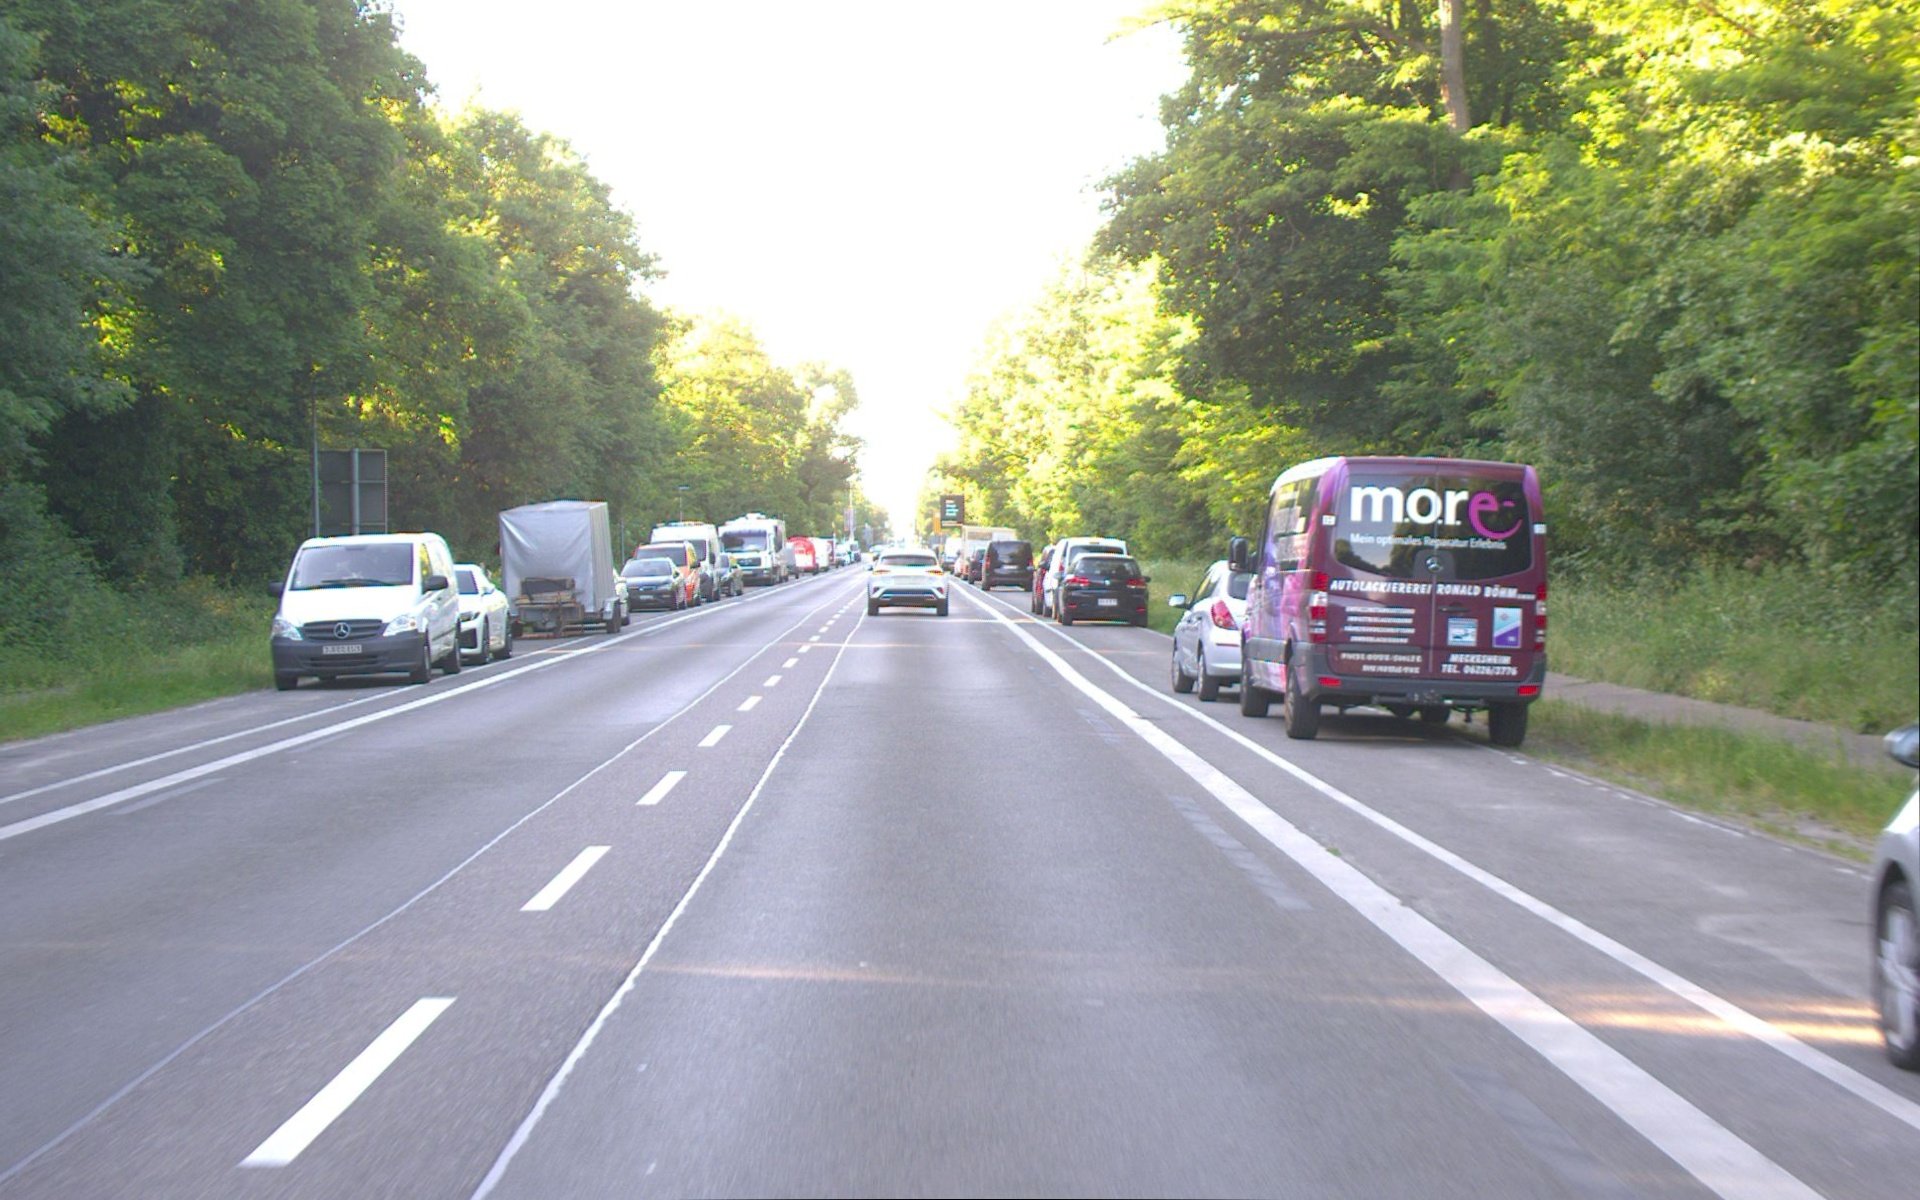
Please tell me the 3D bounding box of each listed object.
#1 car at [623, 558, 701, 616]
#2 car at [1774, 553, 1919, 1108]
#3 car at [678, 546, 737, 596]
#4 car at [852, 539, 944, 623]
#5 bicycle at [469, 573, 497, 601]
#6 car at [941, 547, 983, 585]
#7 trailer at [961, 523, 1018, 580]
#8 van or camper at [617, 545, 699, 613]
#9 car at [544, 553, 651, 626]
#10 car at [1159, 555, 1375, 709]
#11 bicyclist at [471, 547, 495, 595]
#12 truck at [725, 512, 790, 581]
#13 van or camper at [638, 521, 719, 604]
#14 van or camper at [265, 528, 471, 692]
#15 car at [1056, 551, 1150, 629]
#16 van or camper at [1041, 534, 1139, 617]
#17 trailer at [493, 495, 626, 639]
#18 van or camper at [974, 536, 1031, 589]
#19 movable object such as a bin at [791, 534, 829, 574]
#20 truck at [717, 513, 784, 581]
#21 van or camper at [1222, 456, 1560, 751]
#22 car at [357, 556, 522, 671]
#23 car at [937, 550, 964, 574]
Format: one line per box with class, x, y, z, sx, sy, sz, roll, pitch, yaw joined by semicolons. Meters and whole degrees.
car;-8.062;-0.371;93.292;1.731;1.473;4.324;-2;1;0
car;3.555;0.680;9.305;1.712;1.540;4.022;2;1;0
car;-9.034;-1.047;123.057;1.781;1.678;4.378;-2;1;0
car;-1.394;-0.455;78.248;2.028;1.834;4.029;0;1;0
bicycle;-12.287;-0.333;88.552;0.522;0.710;1.487;0;1;-1
car;0.064;-1.522;153.154;1.841;1.656;4.000;0;1;0
trailer;1.482;-2.466;175.252;2.757;2.860;6.589;0;1;-1
van or camper;-8.749;-0.633;99.954;1.923;1.860;4.863;-2;1;0
car;-7.718;-0.241;73.553;1.797;1.448;4.625;-2;1;-1
car;3.262;0.304;37.176;1.747;1.510;4.001;2;1;-3
bicyclist;-12.286;-0.758;88.573;0.487;1.231;0.974;0;1;-1
truck;-10.013;-2.648;171.120;2.707;3.336;10.924;0;1;-1
van or camper;-9.070;-1.231;111.222;2.121;2.563;6.542;-1;1;0
van or camper;-7.437;0.083;43.606;1.835;1.905;4.856;-2;1;-1
car;2.900;-0.226;70.429;1.690;1.519;4.150;1;1;-1
van or camper;2.878;-0.563;76.929;1.951;1.809;4.381;0;1;-1
trailer;-7.683;-0.651;66.328;1.993;2.588;4.416;-2;1;-1
van or camper;1.601;-1.434;130.296;1.993;1.925;5.199;1;1;-1
movable object such as a bin;-9.526;-2.947;218.523;2.322;2.493;4.000;0;1;-1
truck;-9.673;-2.451;159.145;2.707;3.083;7.989;0;1;-1
van or camper;3.656;-0.031;30.333;2.035;2.304;6.041;-1;1;-2
car;-7.595;0.161;50.547;1.774;1.535;4.525;-2;1;-1
car;-0.602;-2.358;212.167;1.656;1.473;3.754;0;1;-1
